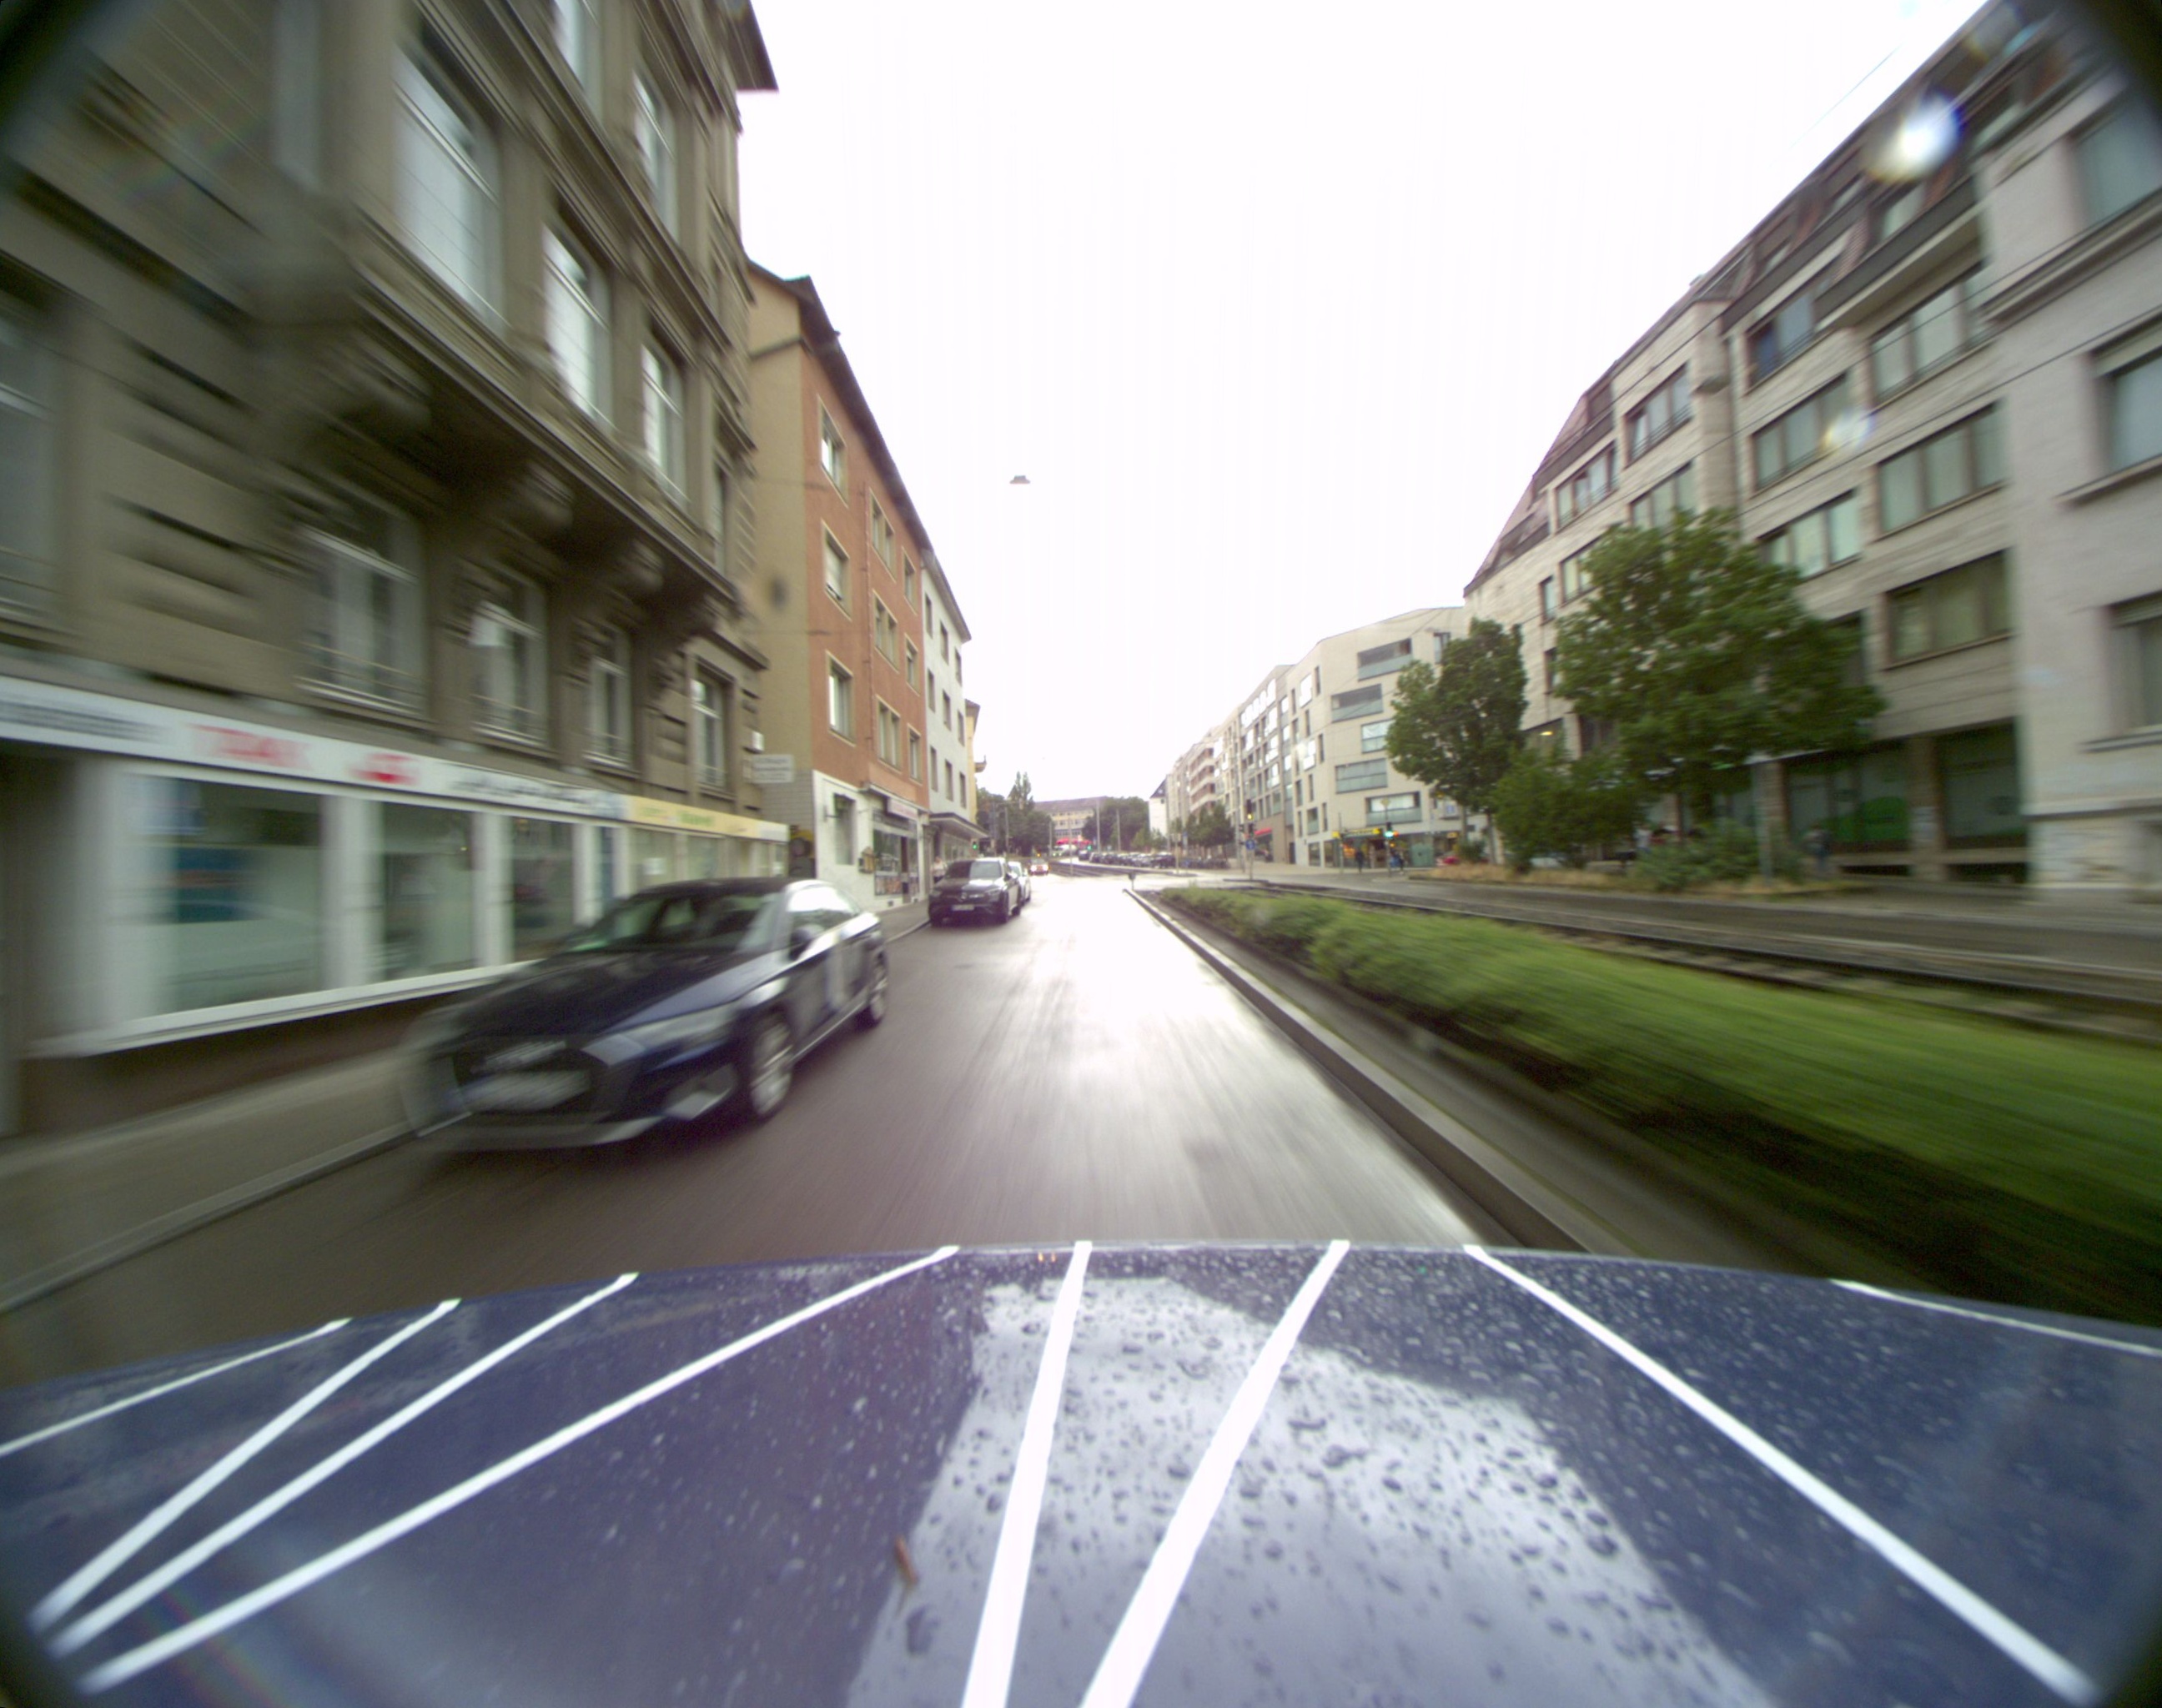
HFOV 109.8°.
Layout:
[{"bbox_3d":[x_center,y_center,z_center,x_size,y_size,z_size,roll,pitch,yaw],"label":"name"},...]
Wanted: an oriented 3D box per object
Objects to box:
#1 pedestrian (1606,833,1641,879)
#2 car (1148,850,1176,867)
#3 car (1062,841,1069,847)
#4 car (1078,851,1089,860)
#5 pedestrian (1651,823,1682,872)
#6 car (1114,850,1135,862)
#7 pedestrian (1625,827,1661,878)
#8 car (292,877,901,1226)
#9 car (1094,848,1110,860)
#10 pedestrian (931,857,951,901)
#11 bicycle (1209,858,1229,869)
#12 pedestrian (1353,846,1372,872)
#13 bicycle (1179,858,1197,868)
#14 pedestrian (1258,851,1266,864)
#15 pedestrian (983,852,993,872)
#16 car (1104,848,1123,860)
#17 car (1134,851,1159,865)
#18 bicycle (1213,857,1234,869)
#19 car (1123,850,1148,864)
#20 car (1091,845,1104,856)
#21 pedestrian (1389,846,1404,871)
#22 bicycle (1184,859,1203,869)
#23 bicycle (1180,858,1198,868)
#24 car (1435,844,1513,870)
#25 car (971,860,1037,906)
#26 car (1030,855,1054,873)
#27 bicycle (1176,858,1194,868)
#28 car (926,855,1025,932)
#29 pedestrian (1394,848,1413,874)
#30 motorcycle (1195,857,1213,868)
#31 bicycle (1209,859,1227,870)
[{"bbox_3d":[18.806,0.060,26.336,0.649,1.540,0.683,-4,2,-2],"label":"pedestrian"},{"bbox_3d":[8.606,0.483,80.670,1.686,1.595,4.324,-4,1,-11],"label":"car"},{"bbox_3d":[-4.312,-2.804,212.408,1.667,1.598,3.808,-4,2,5],"label":"car"},{"bbox_3d":[0.436,0.218,135.166,1.655,1.456,3.668,-4,2,-1],"label":"car"},{"bbox_3d":[19.701,-0.224,25.569,0.505,1.589,0.585,-4,2,-2],"label":"pedestrian"},{"bbox_3d":[5.499,0.208,96.700,1.686,1.373,4.028,-4,1,-11],"label":"car"},{"bbox_3d":[19.503,-0.068,26.366,0.649,1.714,0.683,-4,2,-2],"label":"pedestrian"},{"bbox_3d":[-2.751,0.986,5.674,1.796,1.398,4.256,-1,1,0],"label":"car"},{"bbox_3d":[3.037,-0.040,111.057,1.685,1.496,4.402,-3,1,-6],"label":"car"},{"bbox_3d":[-5.110,0.916,27.757,0.690,1.562,0.762,0,-2,-11],"label":"pedestrian"},{"bbox_3d":[12.847,0.906,70.577,1.790,0.871,0.387,-3,2,-12],"label":"bicycle"},{"bbox_3d":[19.926,0.363,53.799,0.933,1.819,0.958,-1,2,-8],"label":"pedestrian"},{"bbox_3d":[10.747,0.918,76.133,1.790,0.912,0.387,-3,2,-14],"label":"bicycle"},{"bbox_3d":[19.634,0.371,82.434,0.540,1.441,0.803,-4,2,2],"label":"pedestrian"},{"bbox_3d":[-8.174,0.678,66.646,0.749,1.754,0.817,1,1,-11],"label":"pedestrian"},{"bbox_3d":[4.361,-0.026,101.970,1.686,1.555,3.924,-4,1,-11],"label":"car"},{"bbox_3d":[7.456,0.477,87.472,1.686,1.456,4.324,-4,1,-11],"label":"car"},{"bbox_3d":[13.034,0.842,69.396,1.790,0.975,0.440,-4,2,-14],"label":"bicycle"},{"bbox_3d":[6.565,0.364,92.321,1.686,1.521,4.044,-4,2,-15],"label":"car"},{"bbox_3d":[2.506,-0.591,116.690,1.651,1.496,3.778,-3,1,-5],"label":"car"},{"bbox_3d":[21.873,0.305,52.719,0.706,1.701,0.584,-4,2,-24],"label":"pedestrian"},{"bbox_3d":[11.012,0.972,74.339,1.790,0.912,0.387,-3,2,-14],"label":"bicycle"},{"bbox_3d":[10.702,0.863,75.254,1.790,0.912,0.387,-2,2,-14],"label":"bicycle"},{"bbox_3d":[23.004,0.154,44.577,3.702,1.310,1.594,-2,2,3],"label":"car"},{"bbox_3d":[-2.659,0.975,27.119,1.806,1.447,4.587,-1,0,1],"label":"car"},{"bbox_3d":[-3.691,0.924,71.067,1.595,1.456,3.666,-5,2,-11],"label":"car"},{"bbox_3d":[10.595,0.908,77.290,1.790,0.912,0.387,-3,2,-14],"label":"bicycle"},{"bbox_3d":[-2.626,0.922,19.992,1.850,1.623,4.585,-2,1,1],"label":"car"},{"bbox_3d":[19.891,0.421,46.806,0.649,1.560,0.775,-6,3,-37],"label":"pedestrian"},{"bbox_3d":[12.733,0.869,78.505,1.765,1.037,0.542,-2,3,-14],"label":"motorcycle"},{"bbox_3d":[12.906,0.939,71.370,1.791,0.912,0.386,-4,2,-29],"label":"bicycle"}]
